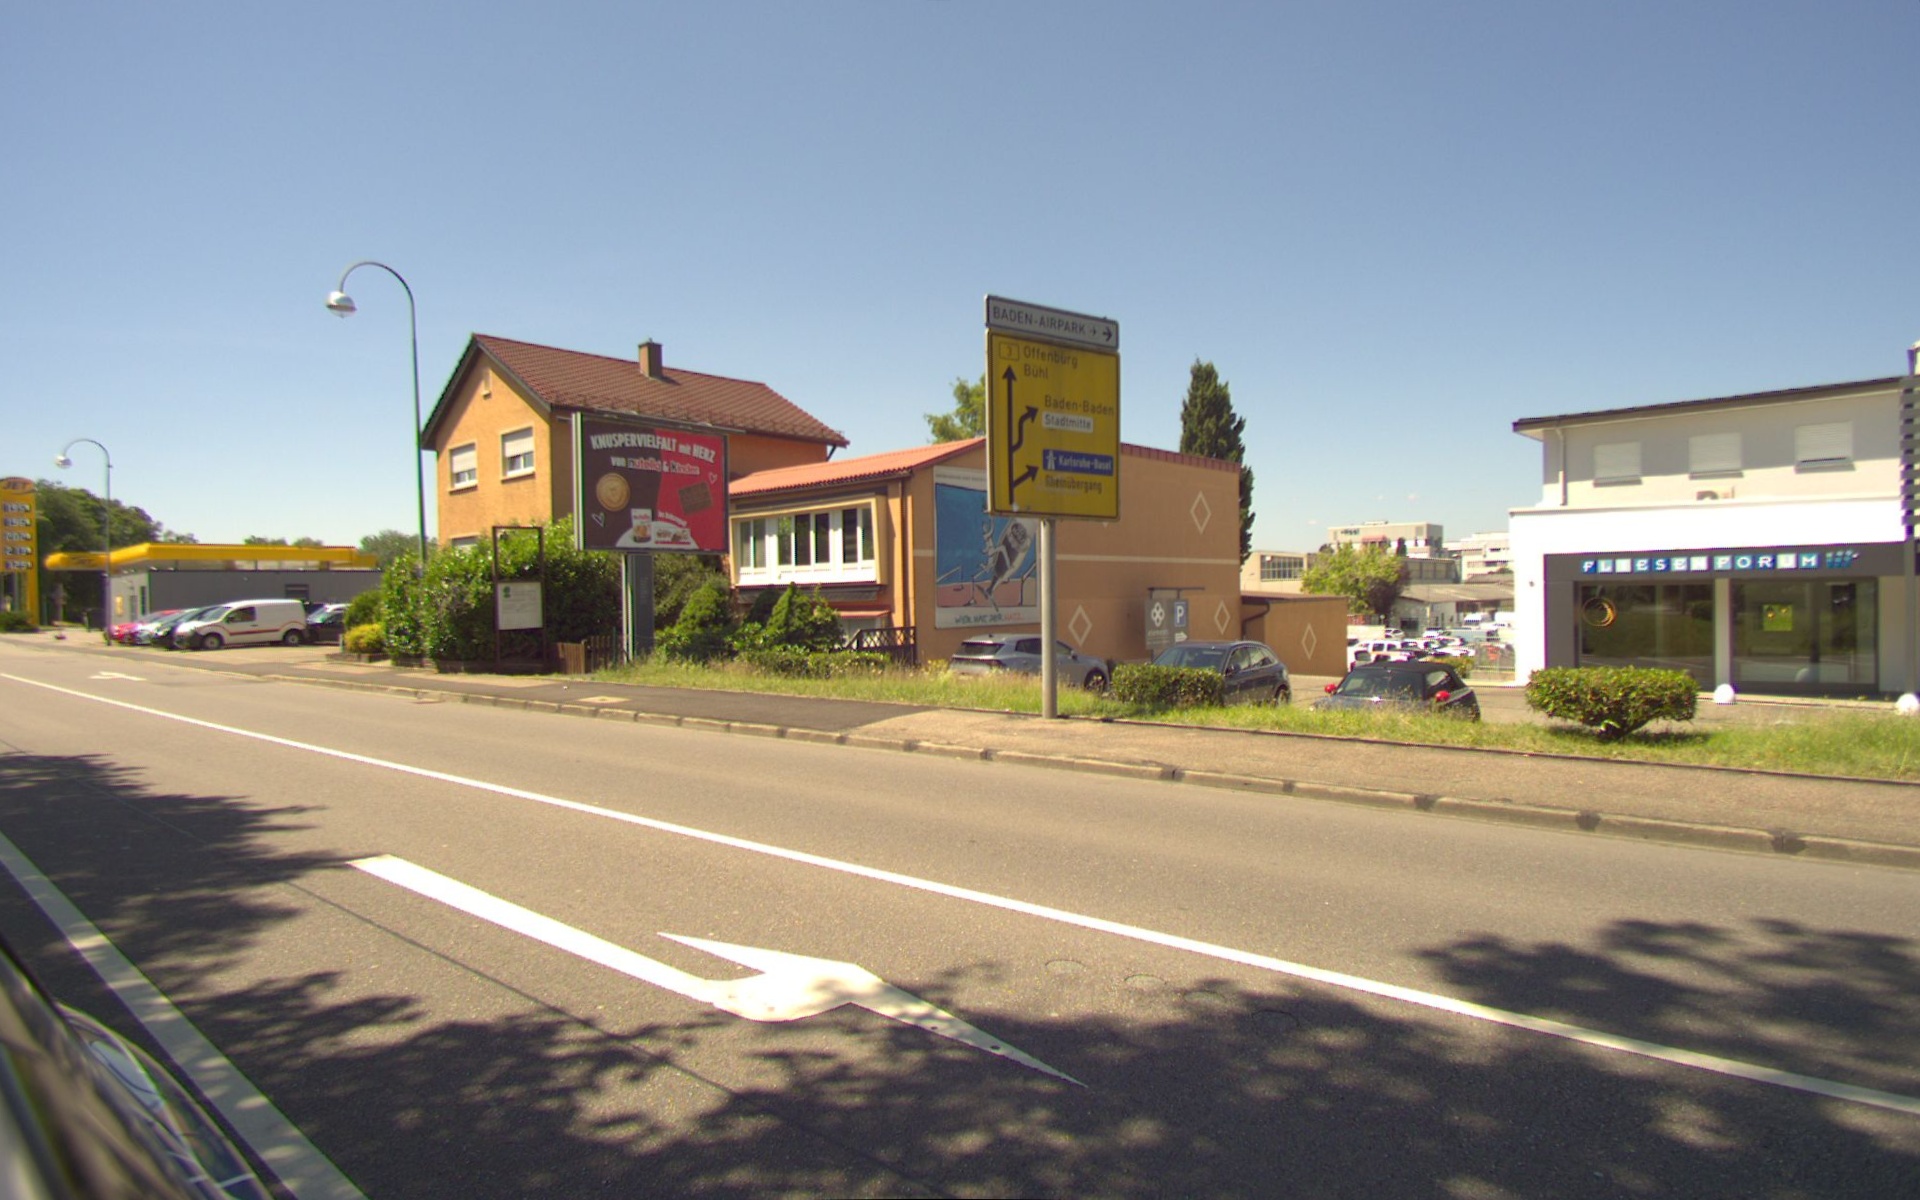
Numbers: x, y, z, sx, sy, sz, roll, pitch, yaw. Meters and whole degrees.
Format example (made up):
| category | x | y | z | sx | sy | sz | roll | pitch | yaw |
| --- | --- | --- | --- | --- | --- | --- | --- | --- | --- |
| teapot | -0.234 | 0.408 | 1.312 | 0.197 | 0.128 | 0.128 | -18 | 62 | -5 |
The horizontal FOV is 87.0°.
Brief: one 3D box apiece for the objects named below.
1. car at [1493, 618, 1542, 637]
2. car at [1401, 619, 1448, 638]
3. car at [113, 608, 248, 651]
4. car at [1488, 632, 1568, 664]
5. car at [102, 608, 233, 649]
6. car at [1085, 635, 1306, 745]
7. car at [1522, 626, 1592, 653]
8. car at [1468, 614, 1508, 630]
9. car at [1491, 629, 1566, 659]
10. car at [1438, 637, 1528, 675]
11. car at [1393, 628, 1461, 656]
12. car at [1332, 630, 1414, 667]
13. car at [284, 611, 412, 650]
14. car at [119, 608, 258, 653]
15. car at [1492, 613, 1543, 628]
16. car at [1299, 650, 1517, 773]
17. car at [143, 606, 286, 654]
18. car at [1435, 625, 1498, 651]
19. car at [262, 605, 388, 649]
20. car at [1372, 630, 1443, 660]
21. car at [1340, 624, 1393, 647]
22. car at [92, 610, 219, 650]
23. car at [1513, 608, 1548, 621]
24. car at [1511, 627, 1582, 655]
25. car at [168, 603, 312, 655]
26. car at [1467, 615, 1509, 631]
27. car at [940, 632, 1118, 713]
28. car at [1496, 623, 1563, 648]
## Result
| category | x | y | z | sx | sy | sz | roll | pitch | yaw |
| --- | --- | --- | --- | --- | --- | --- | --- | --- | --- |
| car | 53.066 | 2.571 | 96.333 | 3.774 | 1.768 | 1.707 | -1 | 0 | 44 |
| car | 44.707 | 2.739 | 97.523 | 3.774 | 1.768 | 1.707 | -1 | 0 | 44 |
| car | -34.203 | 1.265 | 44.502 | 1.871 | 1.773 | 4.351 | -1 | -1 | 35 |
| car | 33.165 | 2.776 | 59.157 | 3.774 | 1.768 | 1.707 | -1 | -1 | 44 |
| car | -35.960 | 1.265 | 46.041 | 1.871 | 1.773 | 4.351 | -1 | -1 | 35 |
| car | 4.399 | 1.525 | 18.483 | 4.462 | 1.654 | 1.772 | 0 | -1 | -44 |
| car | 40.515 | 2.672 | 68.726 | 3.774 | 1.768 | 1.707 | -1 | -1 | 44 |
| car | 61.518 | 2.535 | 117.885 | 3.774 | 1.768 | 1.707 | -1 | -1 | 44 |
| car | 35.613 | 2.744 | 63.460 | 3.774 | 1.768 | 1.707 | -1 | -1 | 44 |
| car | 26.969 | 2.860 | 52.254 | 3.774 | 1.768 | 1.707 | -1 | -1 | 44 |
| car | 31.104 | 2.776 | 67.430 | 3.774 | 1.768 | 1.707 | -1 | -1 | 44 |
| car | 23.965 | 2.769 | 58.814 | 4.001 | 2.029 | 1.971 | -1 | -1 | 44 |
| car | -26.198 | 1.277 | 43.468 | 1.871 | 1.575 | 4.351 | -1 | -1 | 35 |
| car | -32.658 | 1.249 | 42.969 | 1.871 | 1.773 | 4.351 | -1 | -1 | 35 |
| car | 71.497 | 2.636 | 129.829 | 5.303 | 1.768 | 2.037 | -1 | -1 | 44 |
| car | 7.221 | 1.657 | 16.132 | 4.039 | 1.544 | 1.772 | 0 | -1 | -44 |
| car | -29.337 | 1.140 | 39.931 | 1.871 | 1.773 | 4.198 | -1 | -1 | 35 |
| car | 36.480 | 2.729 | 72.942 | 3.774 | 1.768 | 1.707 | -1 | -1 | 44 |
| car | -28.042 | 1.151 | 44.801 | 1.871 | 1.839 | 4.351 | -1 | -1 | 35 |
| car | 28.296 | 2.813 | 64.045 | 3.774 | 1.768 | 1.707 | -1 | -1 | 44 |
| car | 33.964 | 2.944 | 84.565 | 3.774 | 1.768 | 1.707 | -1 | -1 | 44 |
| car | -37.767 | 1.361 | 47.626 | 1.871 | 1.773 | 4.351 | -1 | -1 | 35 |
| car | 76.775 | 1.966 | 136.161 | 3.774 | 1.768 | 1.707 | -1 | -1 | 44 |
| car | 38.645 | 2.695 | 66.760 | 3.774 | 1.768 | 1.707 | -1 | -1 | 44 |
| car | -27.508 | 1.056 | 38.783 | 1.871 | 1.883 | 4.143 | -1 | -1 | 35 |
| car | 58.731 | 2.538 | 112.580 | 3.774 | 1.768 | 1.707 | -1 | -1 | 44 |
| car | 1.681 | 1.620 | 23.757 | 4.165 | 1.621 | 1.773 | 0 | -1 | -42 |
| car | 42.519 | 2.644 | 75.574 | 4.055 | 1.768 | 1.707 | -1 | -1 | 44 |
